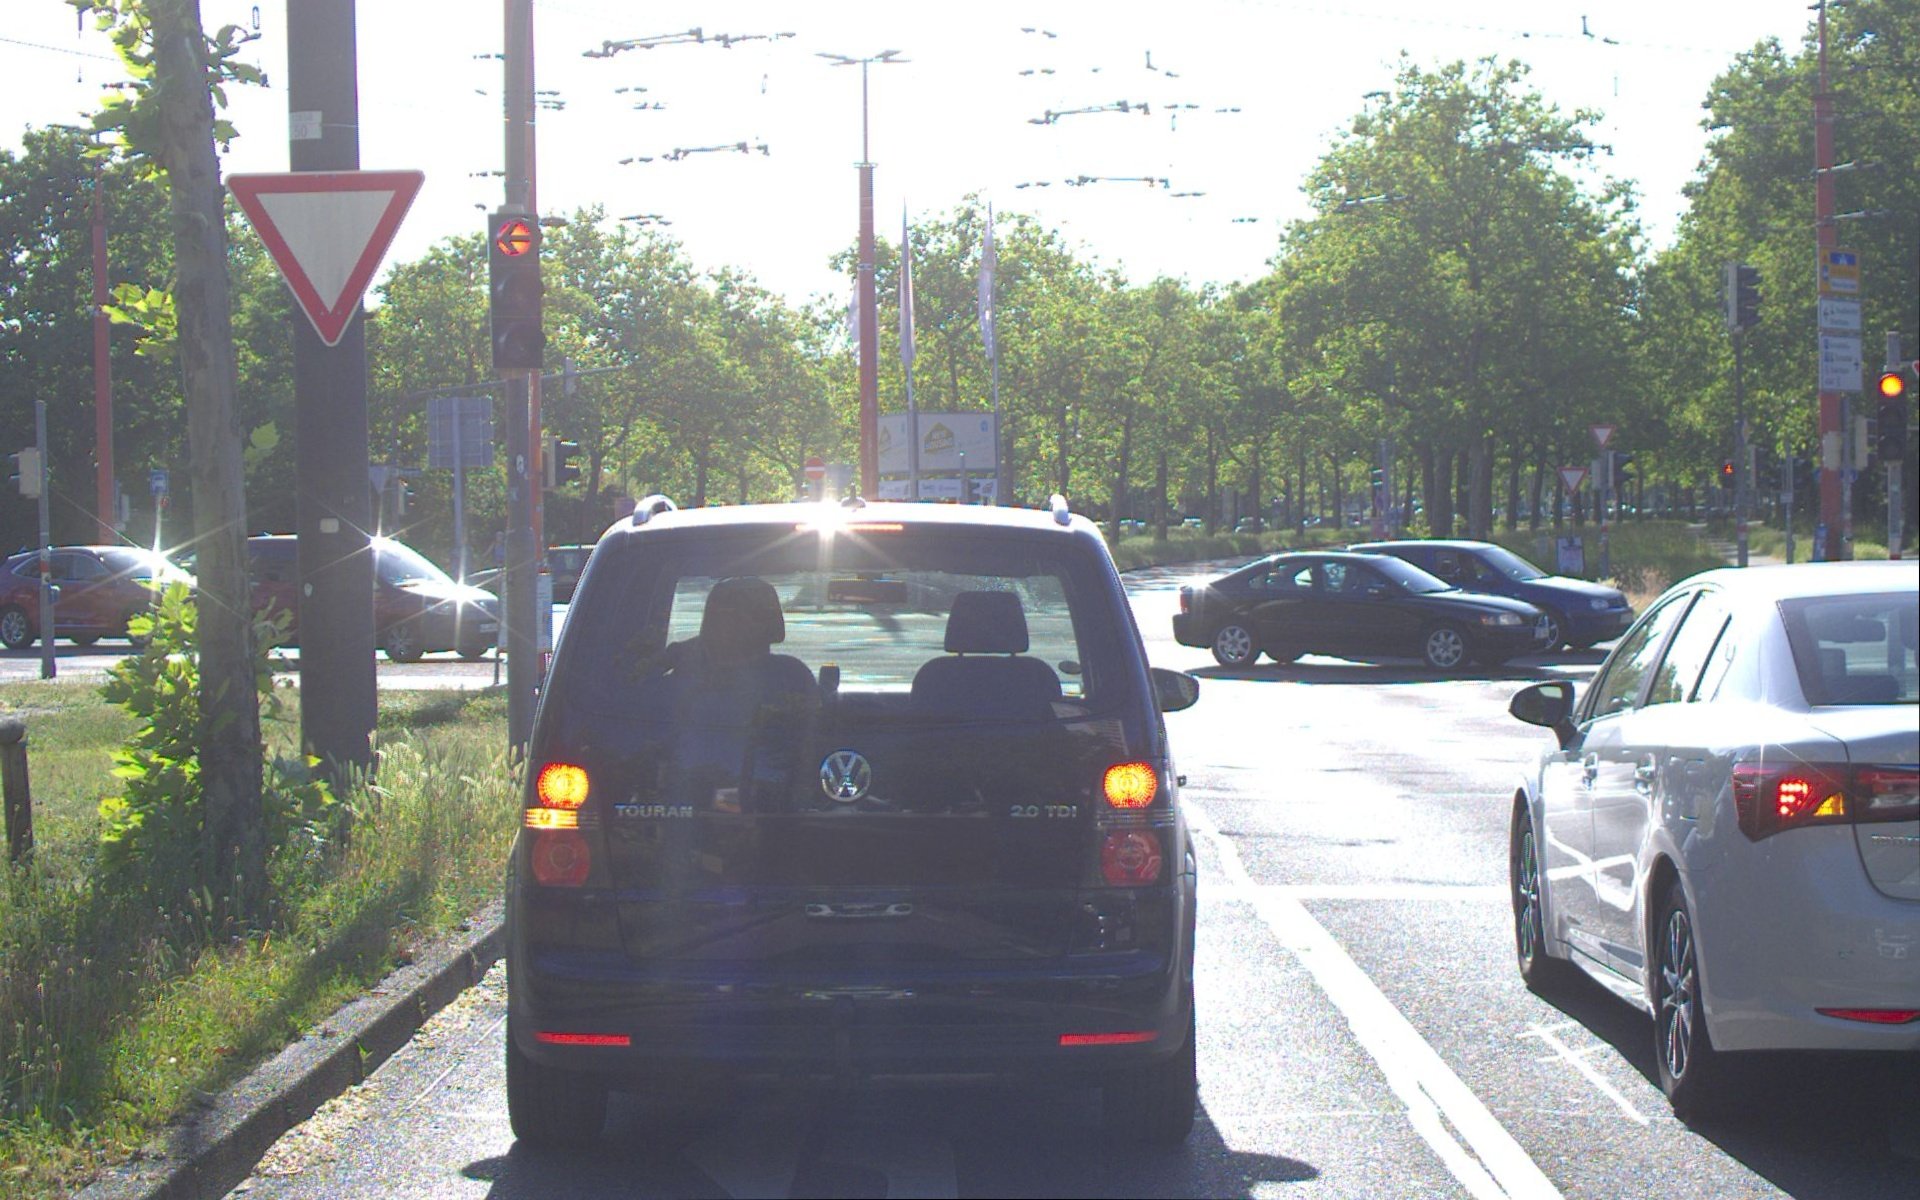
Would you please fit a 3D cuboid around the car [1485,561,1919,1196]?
[{"bbox_3d":[2.689,0.627,10.079,1.715,1.449,4.144,0,1,1],"label":"car"}]

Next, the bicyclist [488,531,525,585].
[{"bbox_3d":[-12.491,-1.158,94.630,0.693,1.452,0.874,0,1,18],"label":"bicyclist"}]

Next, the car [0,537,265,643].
[{"bbox_3d":[-13.697,-0.186,55.870,4.557,1.662,1.840,0,1,28],"label":"car"}]

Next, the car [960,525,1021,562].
[{"bbox_3d":[1.430,-2.622,158.822,1.994,1.679,4.826,0,1,11],"label":"car"}]

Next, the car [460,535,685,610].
[{"bbox_3d":[-8.363,-0.597,74.190,4.459,1.590,1.997,0,1,26],"label":"car"}]

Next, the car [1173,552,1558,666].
[{"bbox_3d":[4.928,0.086,41.902,4.311,1.322,1.759,0,1,28],"label":"car"}]

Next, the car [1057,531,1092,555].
[{"bbox_3d":[6.362,-3.163,190.479,1.658,1.305,3.814,0,1,6],"label":"car"}]

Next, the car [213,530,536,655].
[{"bbox_3d":[-8.395,-0.127,49.238,4.350,1.726,1.840,0,1,28],"label":"car"}]

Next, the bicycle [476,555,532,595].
[{"bbox_3d":[-12.522,-0.690,94.418,0.735,1.086,1.959,0,1,18],"label":"bicycle"}]

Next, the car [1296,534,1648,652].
[{"bbox_3d":[6.706,-0.110,45.146,4.226,1.474,1.751,0,1,30],"label":"car"}]

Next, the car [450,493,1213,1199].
[{"bbox_3d":[-0.315,0.544,9.878,1.737,1.635,4.000,0,1,-1],"label":"car"}]
